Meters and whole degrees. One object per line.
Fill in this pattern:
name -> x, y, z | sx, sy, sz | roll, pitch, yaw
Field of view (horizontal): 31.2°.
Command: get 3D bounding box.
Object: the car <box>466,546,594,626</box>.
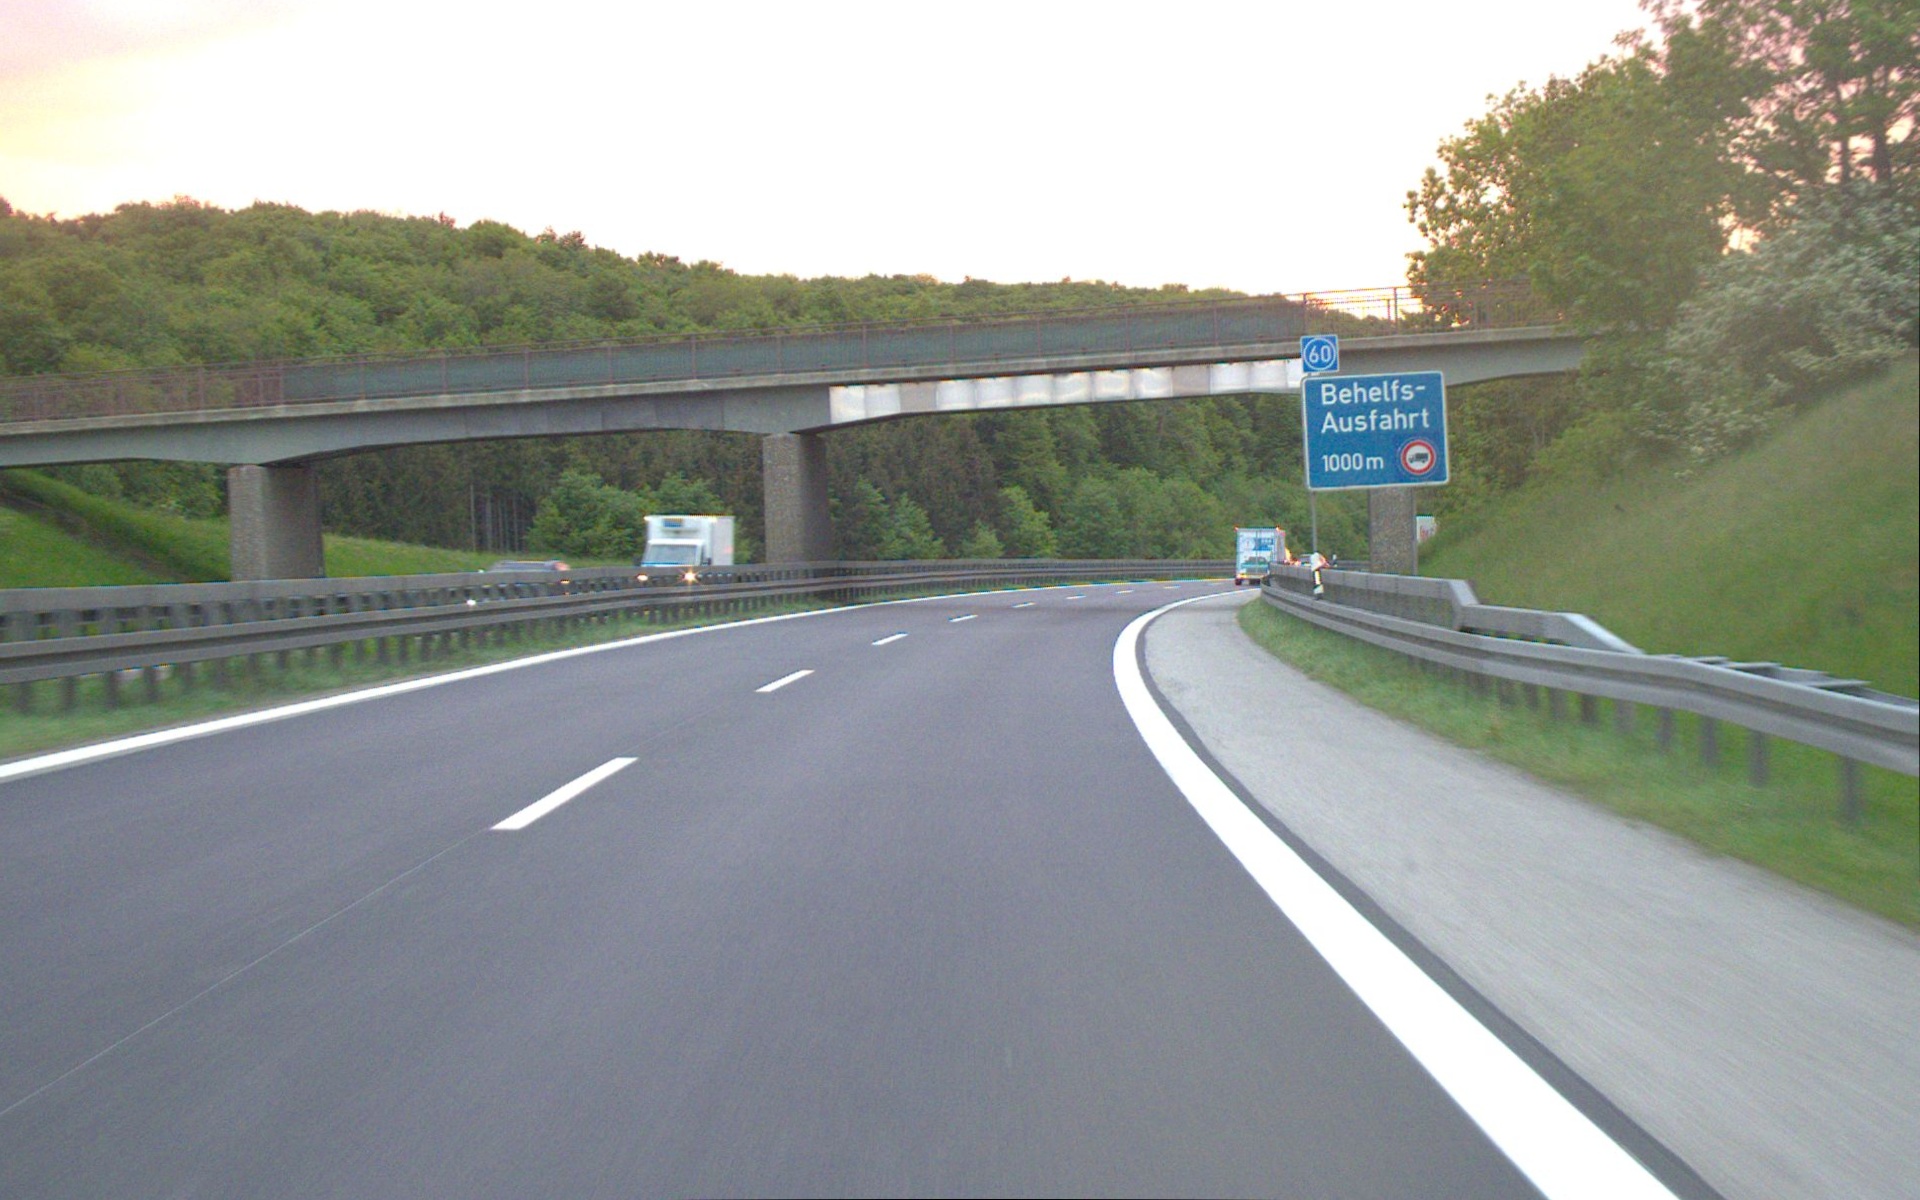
car -> -9.535, -0.340, 76.568 | 1.776, 1.709, 4.636 | 0, 1, 7

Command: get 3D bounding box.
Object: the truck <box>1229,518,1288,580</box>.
truck -> 13.927, -2.394, 160.140 | 2.277, 2.656, 5.234 | -2, 2, 9

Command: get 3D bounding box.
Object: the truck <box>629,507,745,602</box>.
truck -> -9.238, -1.551, 116.900 | 2.613, 3.099, 6.667 | 1, 1, 7

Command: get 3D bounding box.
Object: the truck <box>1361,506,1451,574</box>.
truck -> 29.089, -3.900, 223.500 | 3.960, 4.272, 14.314 | -1, 1, 15

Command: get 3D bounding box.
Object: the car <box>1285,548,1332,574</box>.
car -> 21.504, -2.410, 212.044 | 1.995, 1.512, 3.996 | 0, 1, 19
